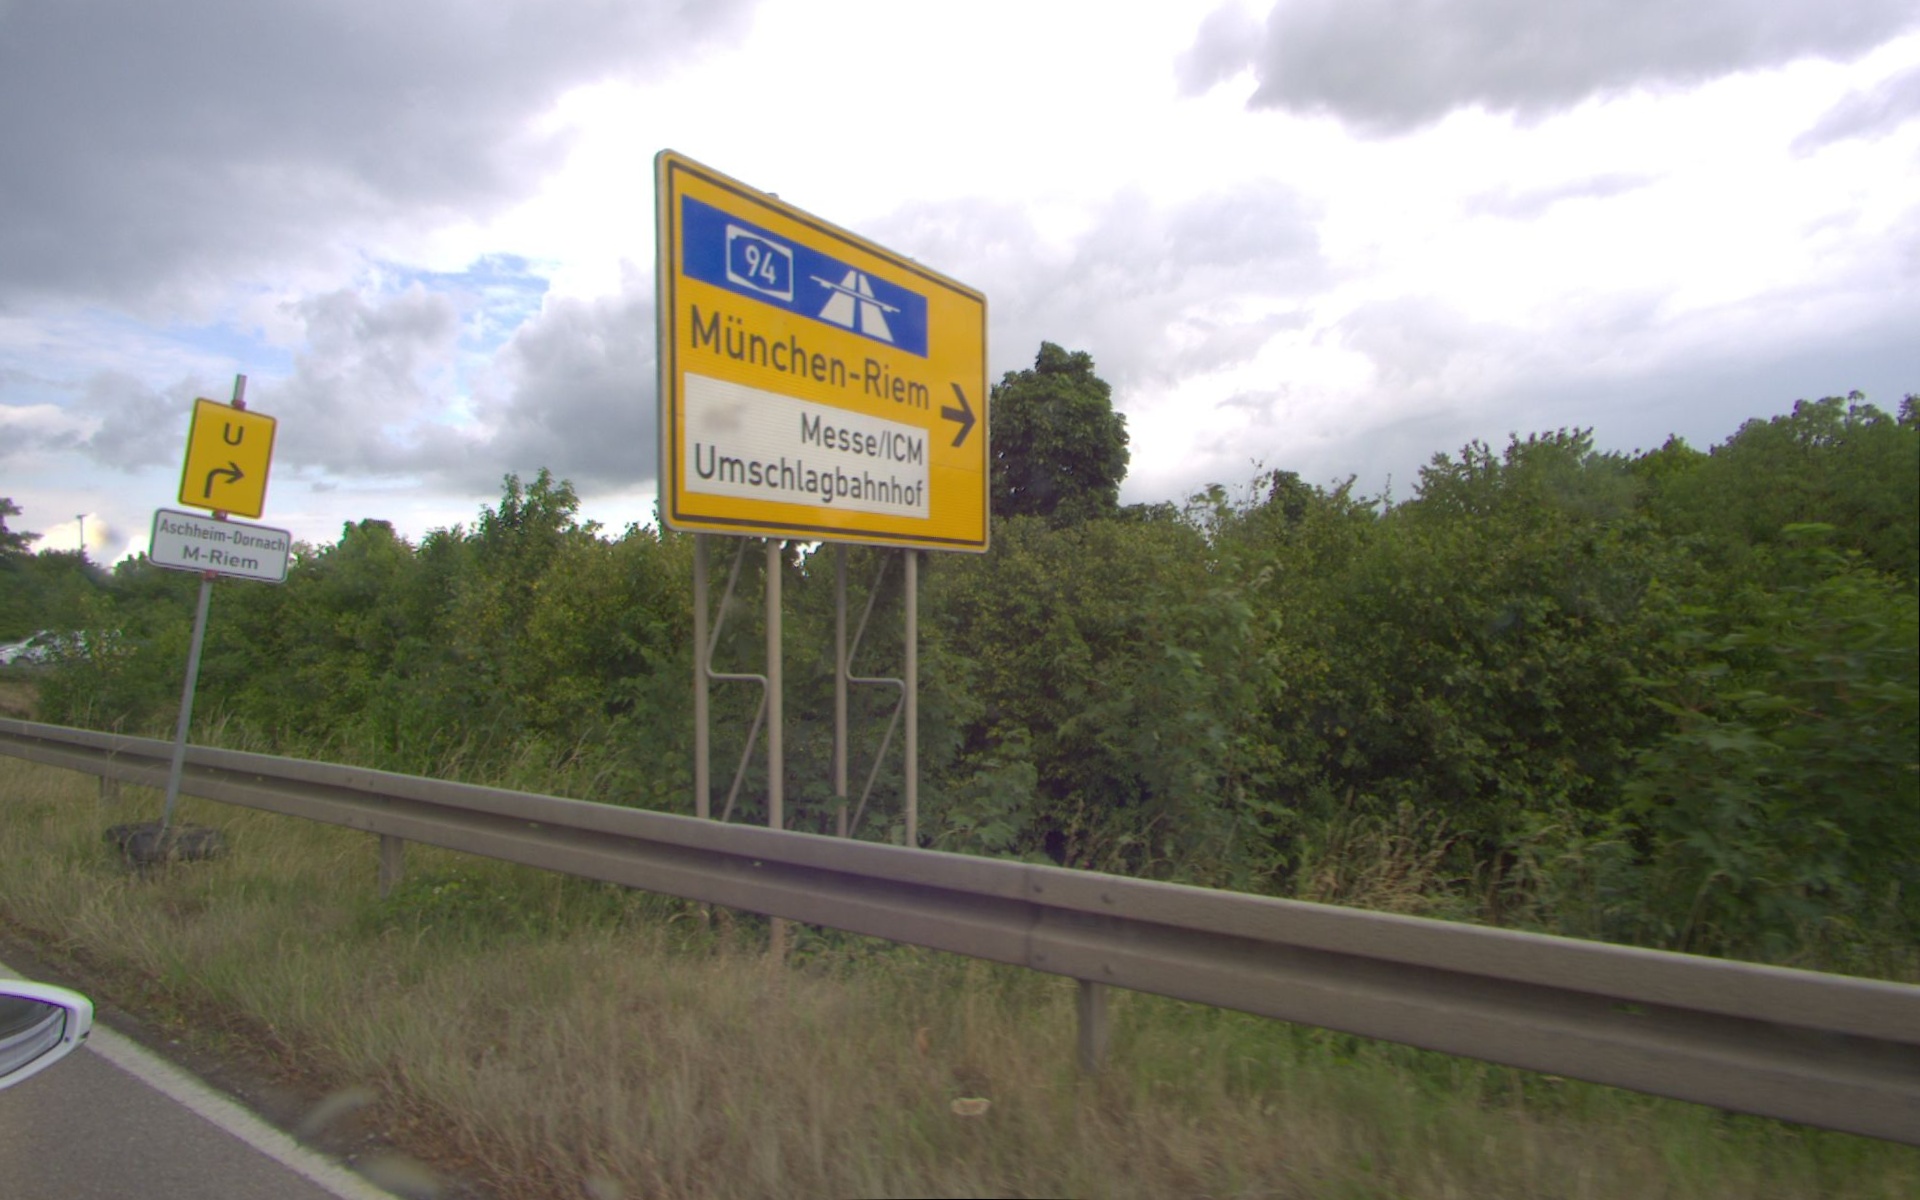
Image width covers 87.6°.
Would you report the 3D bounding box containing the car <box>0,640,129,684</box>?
[{"bbox_3d":[-45.789,3.103,51.142,2.062,2.091,4.841,-1,-2,39],"label":"car"}]
